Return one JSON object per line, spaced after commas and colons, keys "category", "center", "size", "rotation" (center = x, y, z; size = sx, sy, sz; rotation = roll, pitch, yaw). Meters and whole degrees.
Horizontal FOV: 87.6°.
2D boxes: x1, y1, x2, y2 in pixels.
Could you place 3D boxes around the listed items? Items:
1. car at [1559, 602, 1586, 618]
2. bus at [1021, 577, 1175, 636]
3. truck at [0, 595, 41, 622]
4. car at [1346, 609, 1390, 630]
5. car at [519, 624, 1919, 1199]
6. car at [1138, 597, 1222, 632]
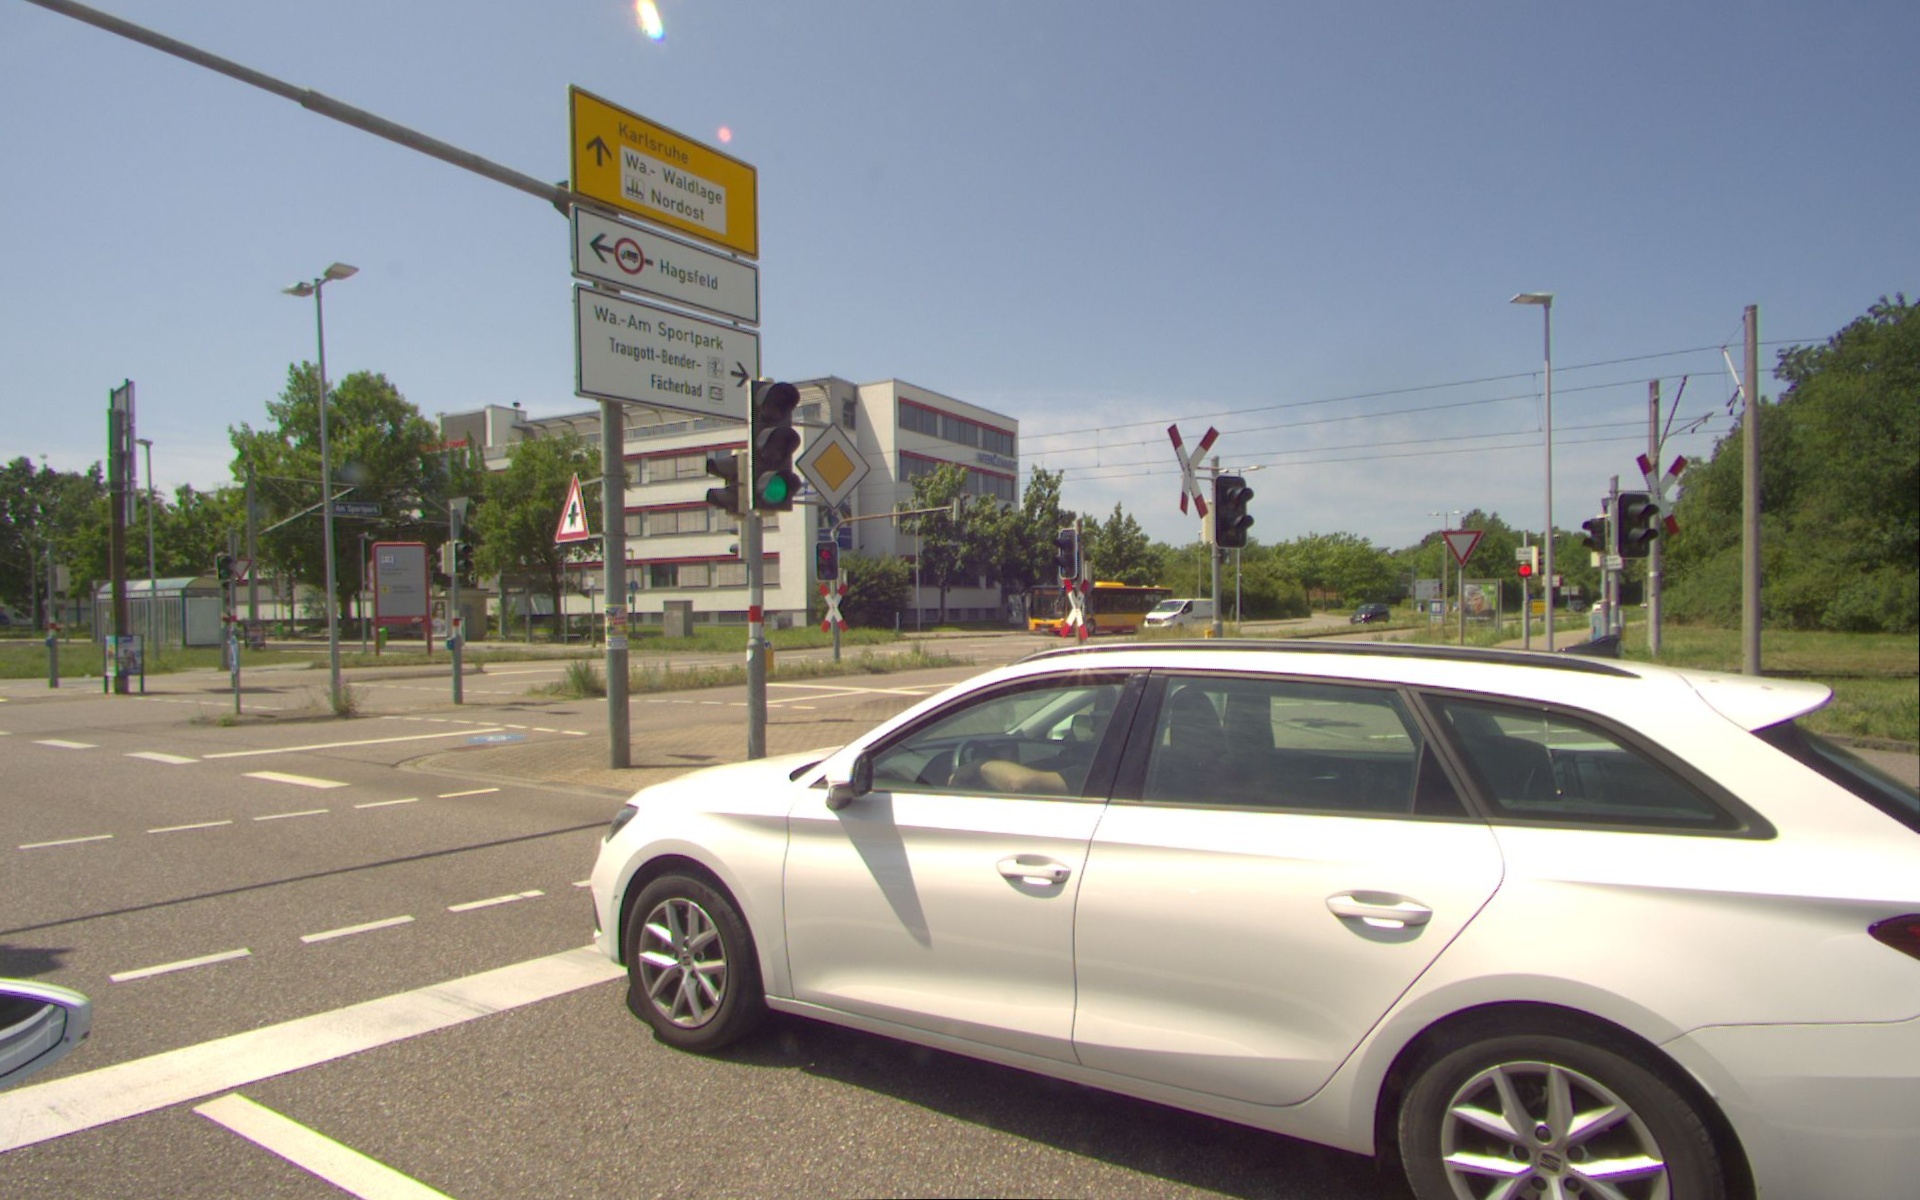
{"category": "car", "center": [71.352, 1.168, 116.589], "size": [1.978, 1.813, 3.965], "rotation": [0, -1, 43]}
{"category": "bus", "center": [8.416, 0.434, 59.215], "size": [2.808, 3.159, 11.977], "rotation": [-2, -2, 42]}
{"category": "truck", "center": [-104.690, 0.982, 109.338], "size": [2.283, 2.881, 5.837], "rotation": [-1, 1, 26]}
{"category": "car", "center": [31.811, 1.513, 77.996], "size": [3.959, 1.601, 1.658], "rotation": [1, 0, -43]}
{"category": "car", "center": [0.593, 0.801, 3.510], "size": [4.384, 1.408, 1.680], "rotation": [-1, -1, 30]}
{"category": "car", "center": [11.736, 0.810, 53.195], "size": [5.021, 1.750, 1.811], "rotation": [2, -2, -43]}
